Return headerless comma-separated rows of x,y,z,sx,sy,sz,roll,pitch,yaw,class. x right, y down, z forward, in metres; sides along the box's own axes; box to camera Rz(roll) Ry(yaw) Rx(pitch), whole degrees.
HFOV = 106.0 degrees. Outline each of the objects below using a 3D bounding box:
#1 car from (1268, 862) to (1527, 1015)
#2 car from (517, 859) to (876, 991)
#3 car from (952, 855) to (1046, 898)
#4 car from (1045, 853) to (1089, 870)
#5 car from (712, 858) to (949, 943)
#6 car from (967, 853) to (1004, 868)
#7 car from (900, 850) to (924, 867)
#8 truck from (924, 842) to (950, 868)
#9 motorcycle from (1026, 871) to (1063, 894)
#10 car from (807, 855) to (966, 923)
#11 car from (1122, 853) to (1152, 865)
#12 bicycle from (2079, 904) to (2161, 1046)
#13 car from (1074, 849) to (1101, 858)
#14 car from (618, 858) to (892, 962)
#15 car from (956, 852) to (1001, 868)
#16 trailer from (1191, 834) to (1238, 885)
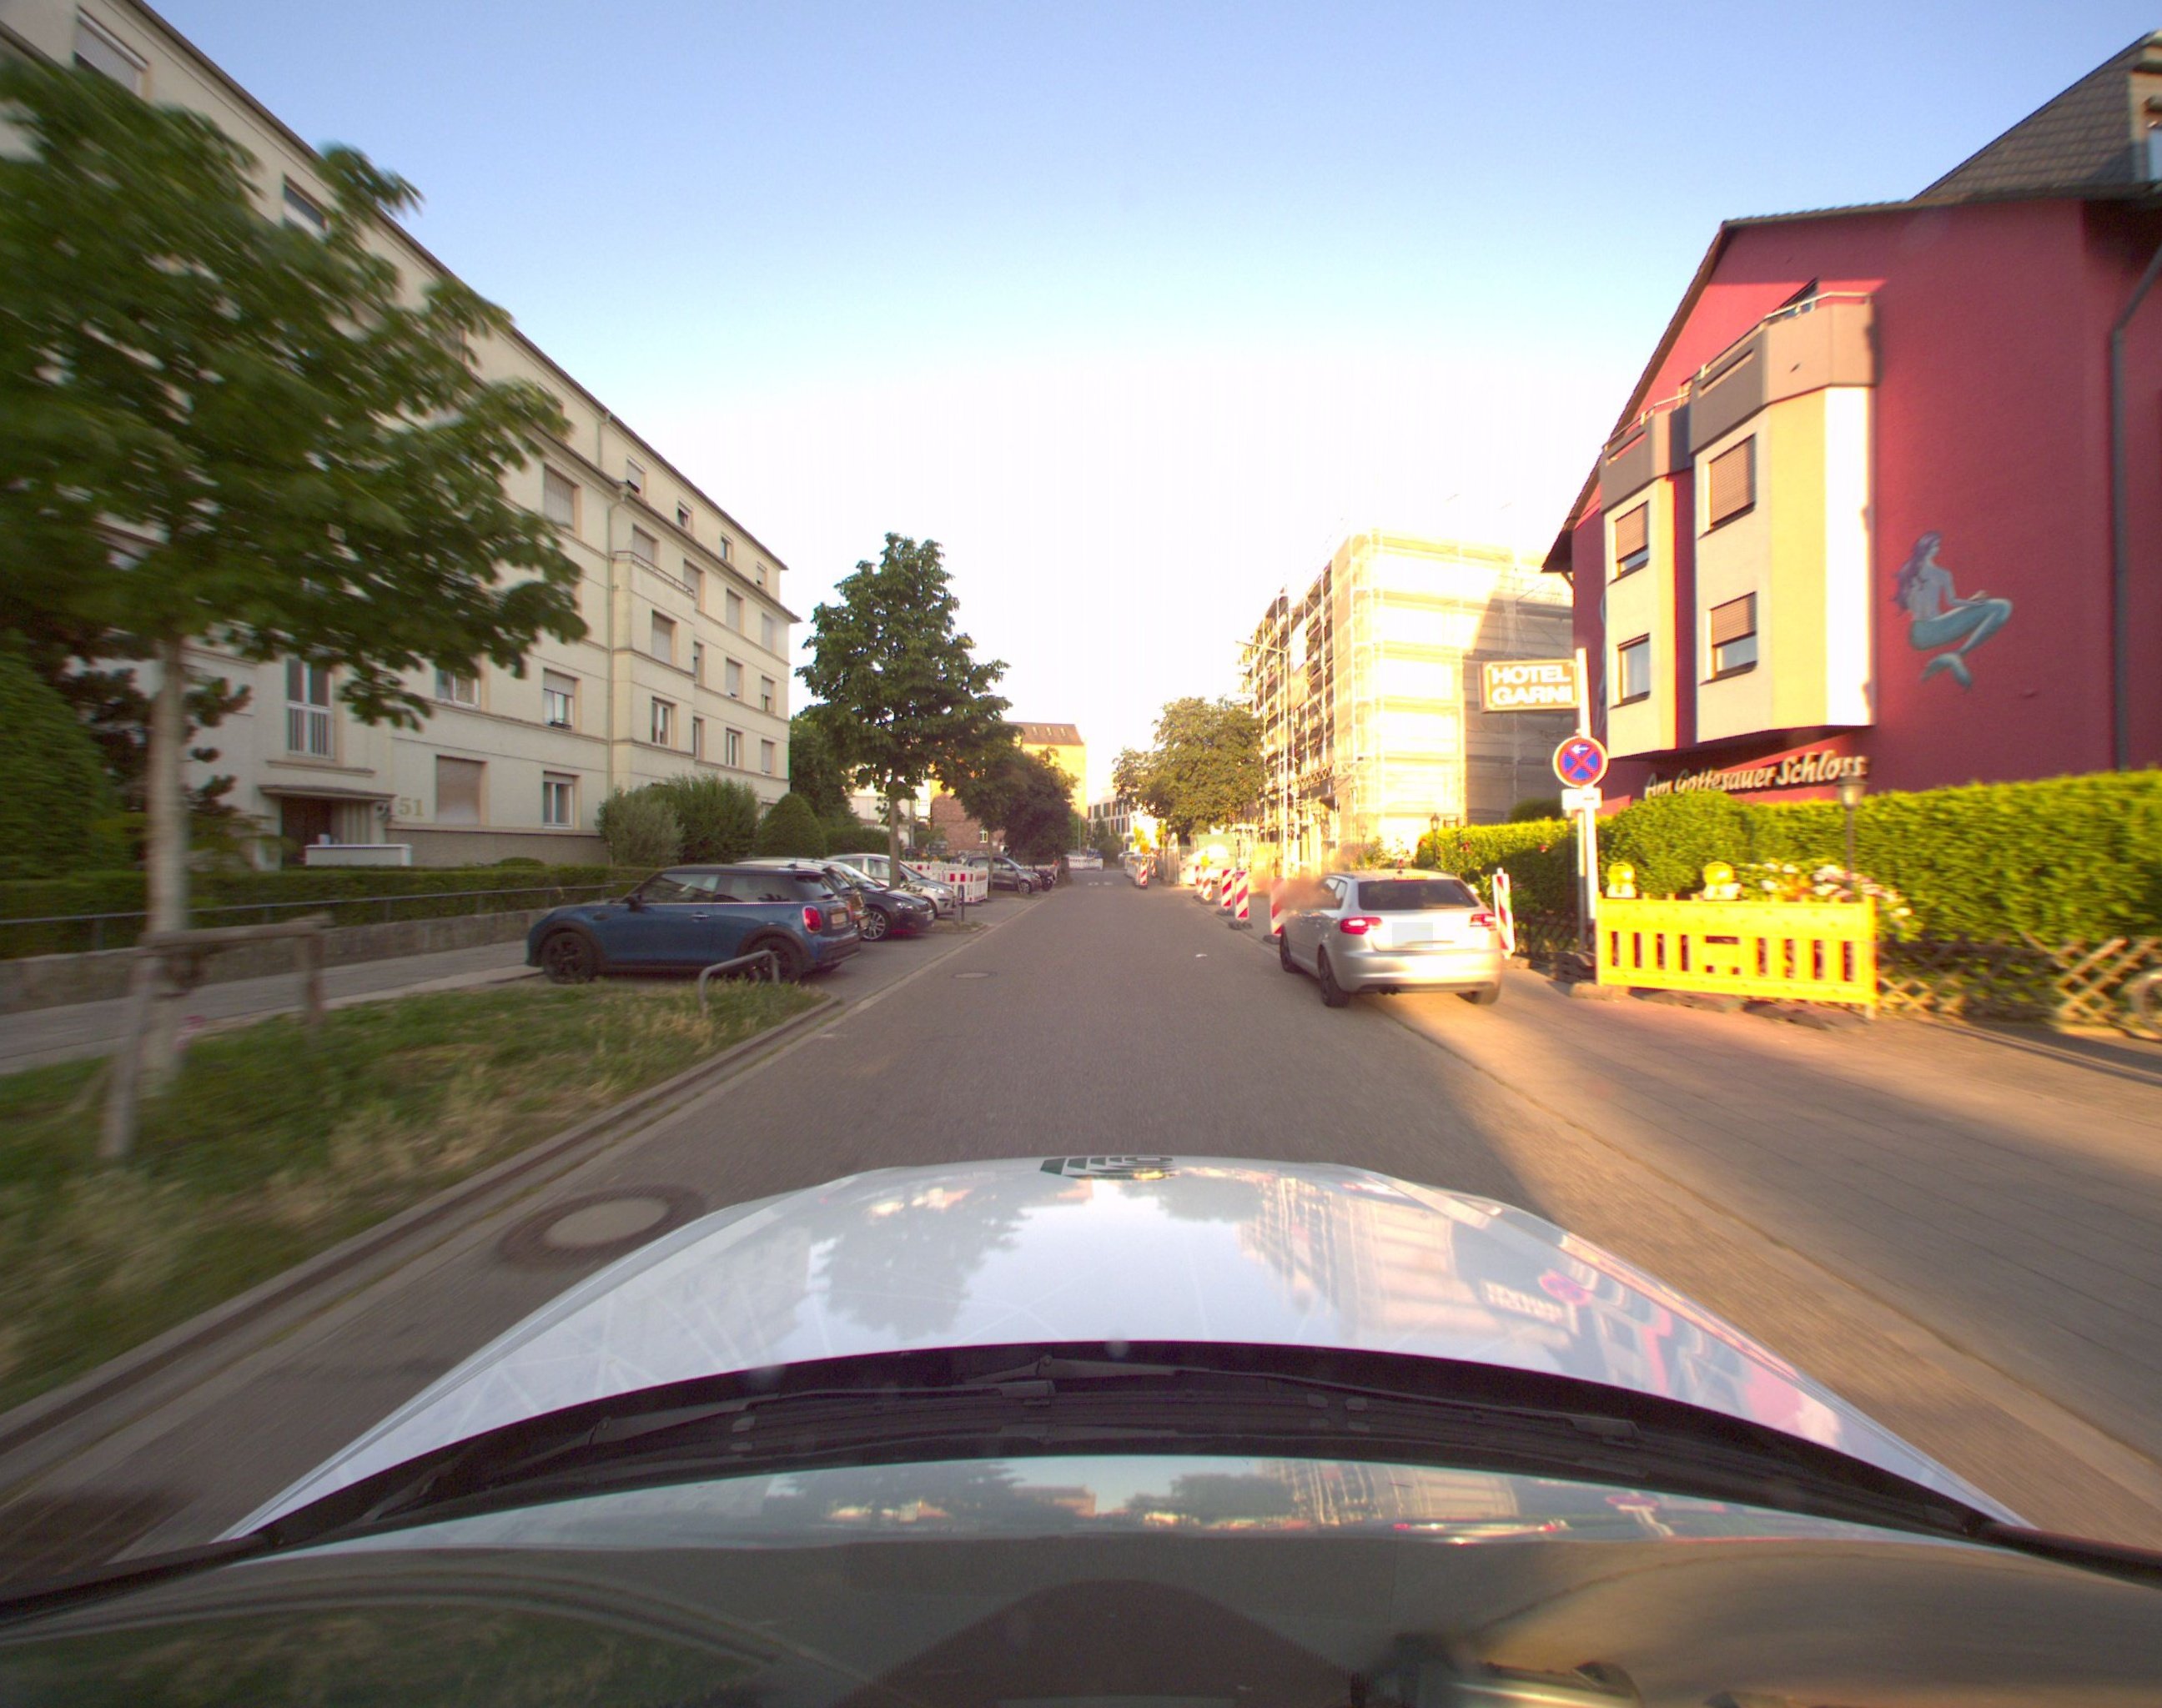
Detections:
3.470,0.822,9.785,1.768,1.397,4.112,0,0,4,car
-4.677,0.826,10.271,3.661,1.445,1.730,1,-1,4,car
-3.351,0.907,33.732,3.610,1.557,1.694,3,0,2,car
-1.495,0.741,86.000,4.279,1.708,1.693,-1,0,-17,car
-4.735,0.855,15.741,3.960,1.489,1.730,1,-1,4,car
-9.872,0.657,84.252,3.637,1.503,1.629,-1,0,-14,car
-17.430,0.449,83.807,1.999,1.692,3.977,0,0,-17,car
-14.981,0.083,84.505,2.337,2.617,4.948,0,0,-15,truck
-1.650,1.302,37.309,0.532,1.021,2.225,2,0,31,motorcycle
-4.714,0.836,20.115,3.464,1.566,1.727,1,-1,-1,car
7.815,0.715,113.384,3.752,1.603,1.676,-1,0,-19,car
9.200,0.941,6.415,1.882,1.069,0.447,-1,0,8,bicycle
1.085,-0.087,132.183,3.996,1.313,1.867,-1,0,-17,car
-5.130,0.851,13.132,3.661,1.484,1.730,1,-1,4,car
-10.908,0.641,86.302,4.590,1.638,1.568,-1,0,-15,car
6.991,0.257,43.062,1.985,2.539,4.189,0,0,3,trailer
